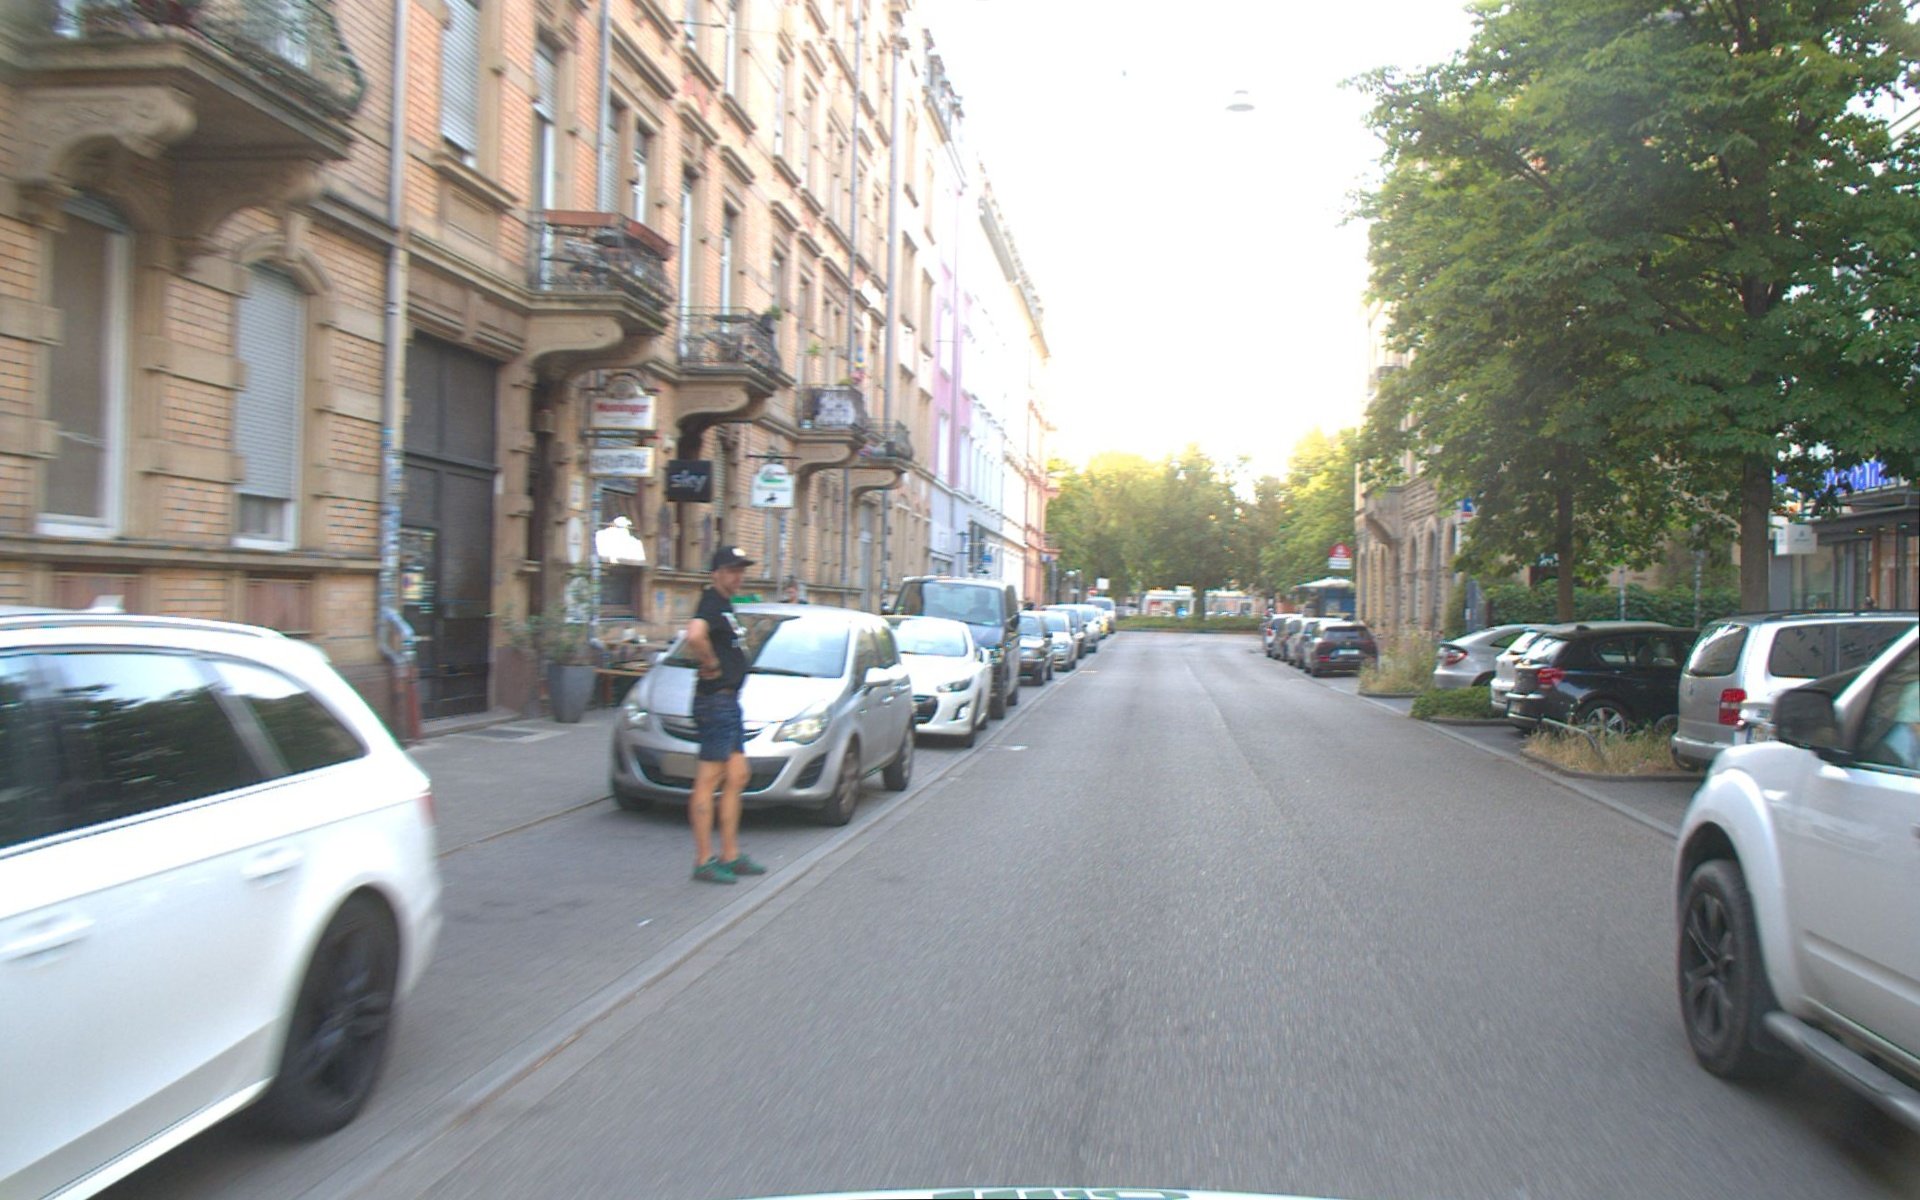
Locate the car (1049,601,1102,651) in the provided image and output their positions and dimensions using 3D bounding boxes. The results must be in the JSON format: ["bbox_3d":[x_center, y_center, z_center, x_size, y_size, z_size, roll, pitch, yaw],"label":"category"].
[{"bbox_3d":[4.152,0.926,59.233,1.806,1.688,4.254,1,0,4],"label":"car"}]

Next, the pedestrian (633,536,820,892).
[{"bbox_3d":[-1.236,0.585,8.929,0.542,1.786,1.023,2,-1,18],"label":"pedestrian"}]

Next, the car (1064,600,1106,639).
[{"bbox_3d":[5.729,0.888,75.294,1.662,1.649,4.025,3,0,7],"label":"car"}]

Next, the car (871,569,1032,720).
[{"bbox_3d":[-0.013,0.614,25.196,1.951,1.957,4.954,3,0,4],"label":"car"}]

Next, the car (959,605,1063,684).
[{"bbox_3d":[1.138,0.899,34.546,1.700,1.443,4.781,3,-1,6],"label":"car"}]

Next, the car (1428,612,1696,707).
[{"bbox_3d":[10.204,1.005,28.330,3.999,1.478,1.884,-1,0,9],"label":"car"}]

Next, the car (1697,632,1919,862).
[{"bbox_3d":[7.866,0.977,11.892,4.331,1.481,1.780,-1,0,1],"label":"car"}]

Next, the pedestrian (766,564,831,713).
[{"bbox_3d":[-2.029,0.468,20.843,0.593,1.803,0.777,4,1,3],"label":"pedestrian"}]

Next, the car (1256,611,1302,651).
[{"bbox_3d":[12.881,1.226,66.923,1.640,1.527,4.021,-2,-1,8],"label":"car"}]

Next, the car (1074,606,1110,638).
[{"bbox_3d":[6.518,1.072,81.503,1.663,1.451,4.024,3,0,4],"label":"car"}]

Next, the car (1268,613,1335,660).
[{"bbox_3d":[11.539,1.222,56.092,1.641,1.482,3.802,-2,-1,3],"label":"car"}]

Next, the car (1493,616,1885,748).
[{"bbox_3d":[8.602,0.953,19.801,3.903,1.481,1.829,0,0,5],"label":"car"}]

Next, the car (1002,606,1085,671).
[{"bbox_3d":[2.248,0.978,43.634,1.795,1.483,4.209,4,0,7],"label":"car"}]

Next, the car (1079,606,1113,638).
[{"bbox_3d":[7.170,1.154,87.402,1.663,1.579,4.024,3,0,4],"label":"car"}]

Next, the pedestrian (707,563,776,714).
[{"bbox_3d":[-2.723,0.457,20.663,0.568,1.802,0.998,4,1,3],"label":"pedestrian"}]

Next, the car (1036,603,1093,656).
[{"bbox_3d":[3.396,0.929,53.208,1.601,1.593,3.784,2,0,6],"label":"car"}]

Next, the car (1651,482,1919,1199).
[{"bbox_3d":[3.354,0.656,3.763,1.870,1.885,5.274,1,-1,7],"label":"car"}]

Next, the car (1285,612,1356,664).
[{"bbox_3d":[10.966,1.131,50.555,1.640,1.482,4.233,-2,-1,6],"label":"car"}]

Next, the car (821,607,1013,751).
[{"bbox_3d":[-0.394,0.862,20.141,1.746,1.447,4.488,3,0,5],"label":"car"}]

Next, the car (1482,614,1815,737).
[{"bbox_3d":[9.092,0.981,22.066,3.714,1.478,1.736,-1,0,2],"label":"car"}]

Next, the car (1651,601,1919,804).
[{"bbox_3d":[8.610,0.852,14.588,4.305,1.676,1.747,-1,0,7],"label":"car"}]

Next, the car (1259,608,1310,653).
[{"bbox_3d":[11.956,1.103,61.121,1.640,1.527,3.904,-2,-1,8],"label":"car"}]

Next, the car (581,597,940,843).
[{"bbox_3d":[-1.329,0.768,12.676,1.680,1.483,4.003,3,0,8],"label":"car"}]

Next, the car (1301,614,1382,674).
[{"bbox_3d":[10.225,1.148,44.553,1.640,1.454,4.481,-3,-1,8],"label":"car"}]

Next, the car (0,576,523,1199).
[{"bbox_3d":[-2.589,0.682,3.292,1.721,1.436,4.512,2,0,7],"label":"car"}]

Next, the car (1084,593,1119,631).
[{"bbox_3d":[8.166,0.688,95.501,1.773,2.011,4.188,3,0,3],"label":"car"}]
